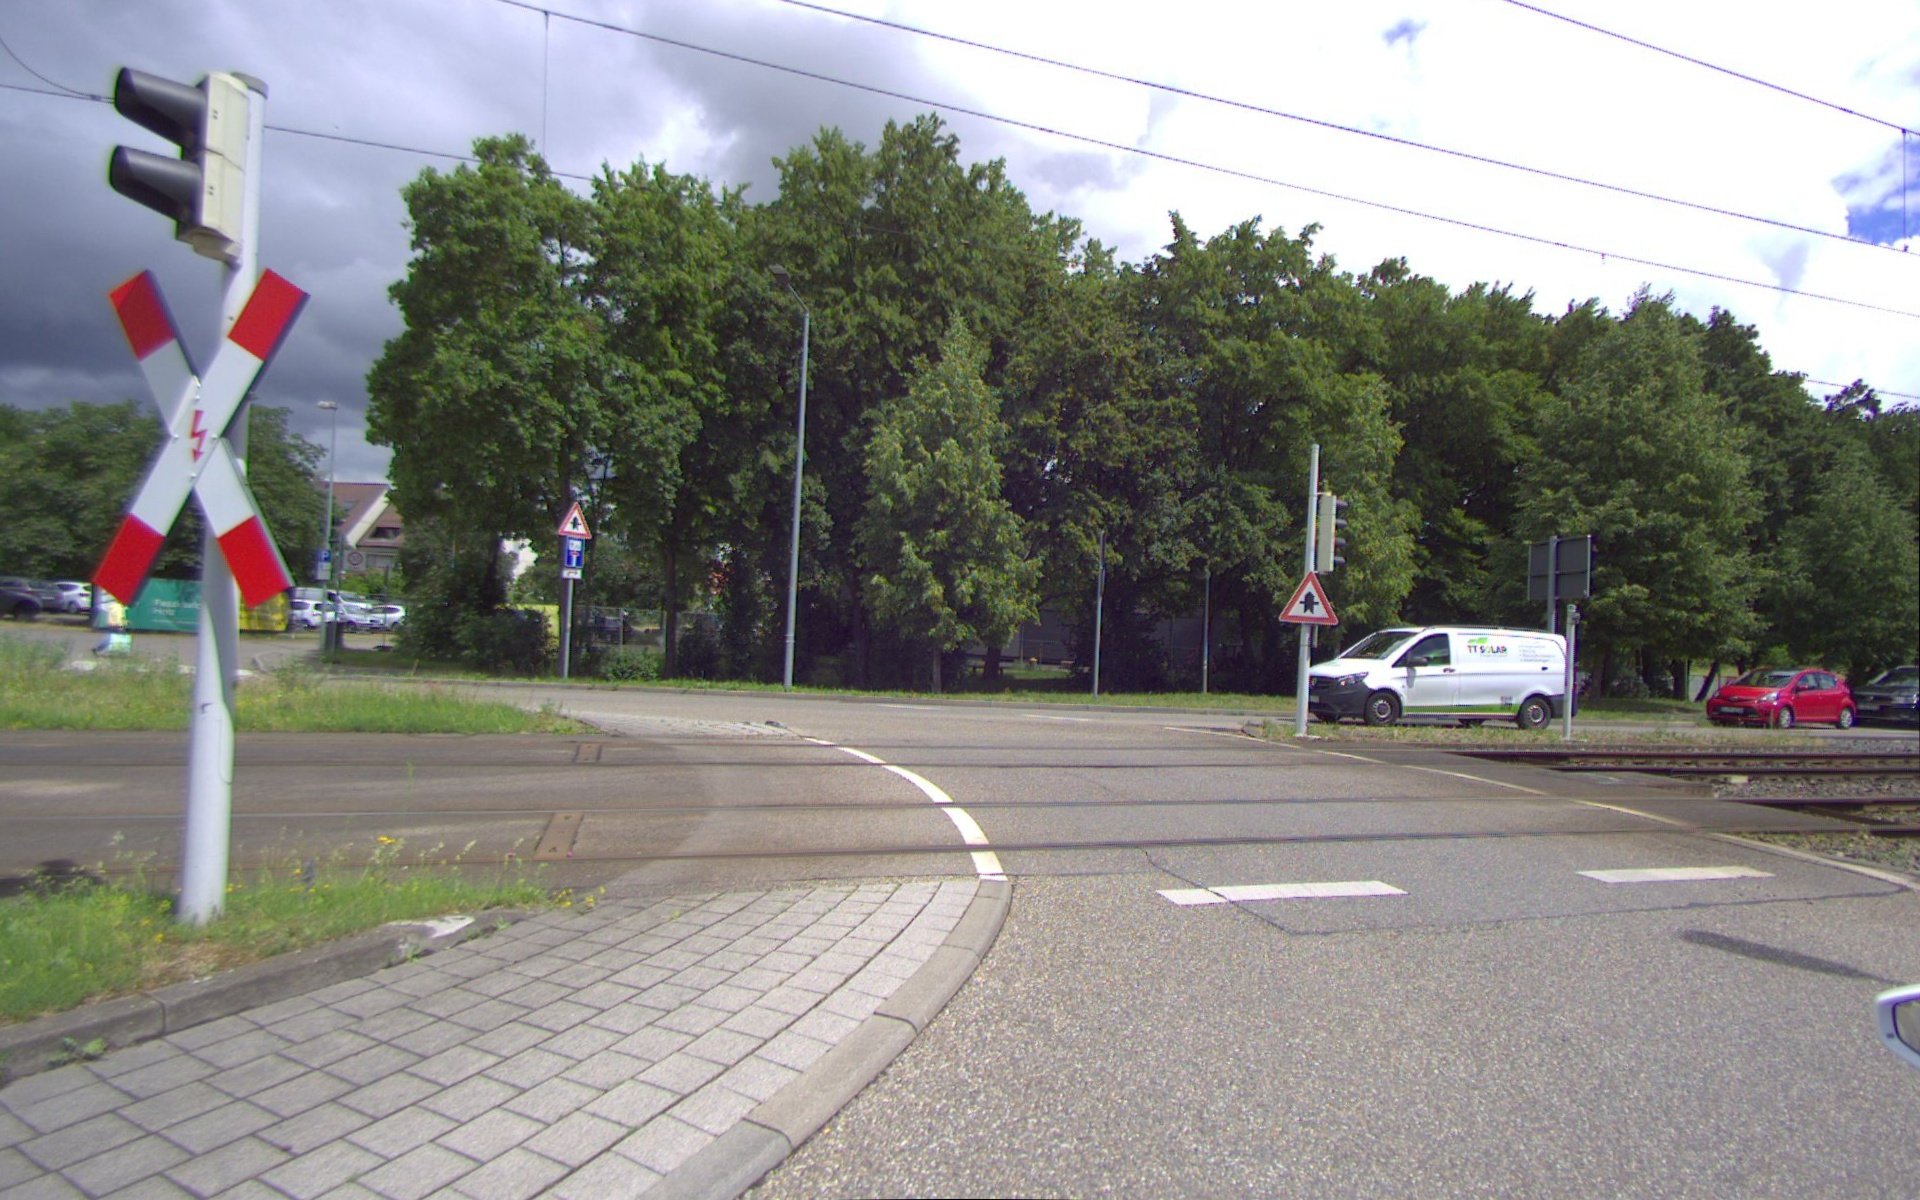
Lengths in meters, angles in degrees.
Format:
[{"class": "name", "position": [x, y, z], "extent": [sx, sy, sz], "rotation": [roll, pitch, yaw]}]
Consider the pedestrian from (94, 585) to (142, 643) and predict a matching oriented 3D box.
[{"class": "pedestrian", "position": [-22.603, 0.367, 26.962], "extent": [0.883, 1.476, 0.747], "rotation": [4, -1, 40]}]

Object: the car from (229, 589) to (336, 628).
[{"class": "car", "position": [-30.573, 0.372, 45.367], "extent": [3.919, 1.438, 1.759], "rotation": [4, -1, 13]}]

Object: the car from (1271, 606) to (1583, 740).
[{"class": "car", "position": [8.738, 1.351, 18.905], "extent": [5.145, 2.045, 1.877], "rotation": [5, -1, -12]}]

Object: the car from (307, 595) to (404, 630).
[{"class": "car", "position": [-29.785, 0.619, 49.511], "extent": [3.919, 1.438, 1.759], "rotation": [4, -1, 13]}]

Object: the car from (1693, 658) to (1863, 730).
[{"class": "car", "position": [20.385, 2.342, 25.043], "extent": [3.607, 1.470, 1.611], "rotation": [5, -1, -20]}]

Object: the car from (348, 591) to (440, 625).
[{"class": "car", "position": [-29.465, 0.417, 52.328], "extent": [3.919, 1.438, 1.759], "rotation": [4, -1, 13]}]

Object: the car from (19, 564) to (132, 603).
[{"class": "car", "position": [-42.615, -0.794, 48.461], "extent": [3.919, 1.612, 2.002], "rotation": [2, -2, 10]}]

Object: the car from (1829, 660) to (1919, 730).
[{"class": "car", "position": [25.342, 2.580, 26.522], "extent": [4.306, 1.626, 1.579], "rotation": [5, -1, -18]}]

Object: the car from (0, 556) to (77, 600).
[{"class": "car", "position": [-42.899, -1.015, 45.677], "extent": [3.919, 1.776, 2.002], "rotation": [2, -2, 10]}]

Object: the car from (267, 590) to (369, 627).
[{"class": "car", "position": [-30.325, 0.427, 47.503], "extent": [3.919, 1.438, 1.759], "rotation": [4, -1, 13]}]

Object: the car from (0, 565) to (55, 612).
[{"class": "car", "position": [-38.065, -0.543, 39.950], "extent": [3.520, 1.610, 1.997], "rotation": [5, -2, 30]}]
